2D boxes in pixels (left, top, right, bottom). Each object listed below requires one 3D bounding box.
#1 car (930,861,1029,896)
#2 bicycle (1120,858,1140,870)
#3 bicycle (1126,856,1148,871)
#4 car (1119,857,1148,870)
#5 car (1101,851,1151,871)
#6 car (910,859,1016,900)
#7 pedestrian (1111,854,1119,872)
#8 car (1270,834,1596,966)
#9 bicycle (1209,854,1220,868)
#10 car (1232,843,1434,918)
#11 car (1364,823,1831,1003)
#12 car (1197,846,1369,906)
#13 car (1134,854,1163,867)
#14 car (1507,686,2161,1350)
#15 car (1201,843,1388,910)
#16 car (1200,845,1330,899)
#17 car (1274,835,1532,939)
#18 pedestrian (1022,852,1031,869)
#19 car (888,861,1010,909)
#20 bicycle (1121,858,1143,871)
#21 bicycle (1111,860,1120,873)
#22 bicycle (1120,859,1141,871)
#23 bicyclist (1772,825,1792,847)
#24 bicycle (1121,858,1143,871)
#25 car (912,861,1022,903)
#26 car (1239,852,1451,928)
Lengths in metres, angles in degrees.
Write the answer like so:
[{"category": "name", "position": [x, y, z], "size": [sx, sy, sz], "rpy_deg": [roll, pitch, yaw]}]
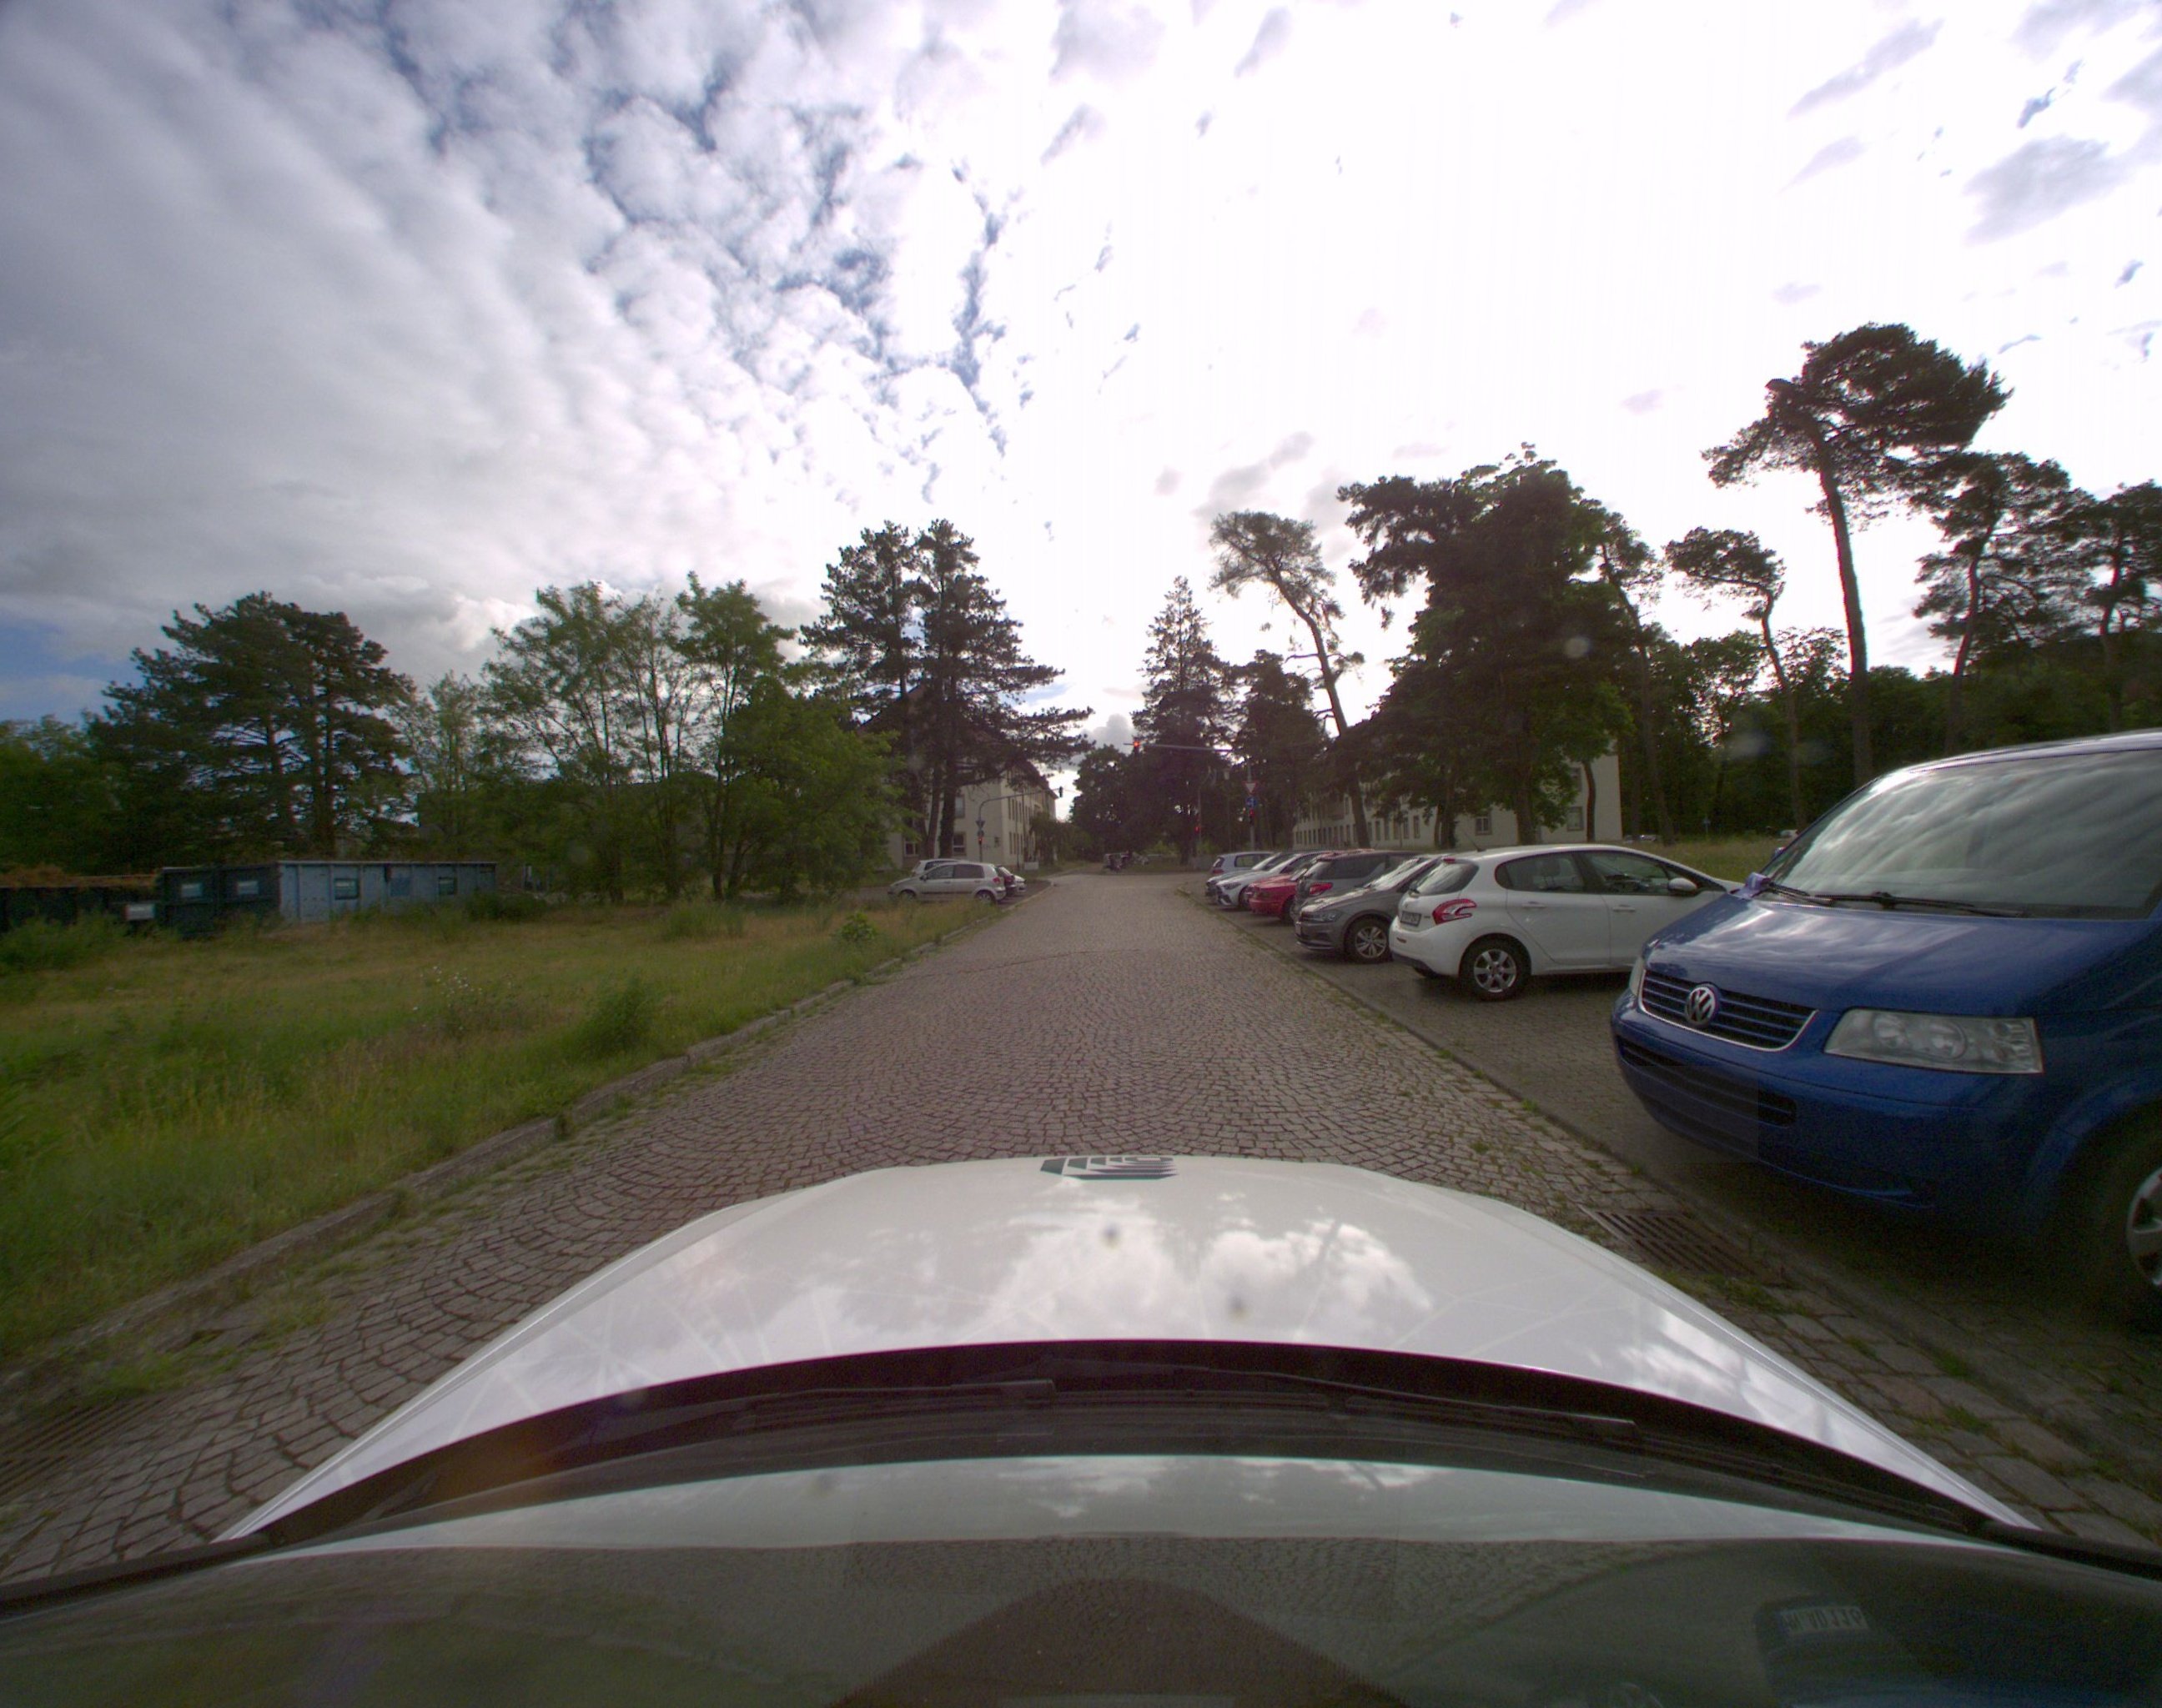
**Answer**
[{"category": "car", "position": [-4.264, 1.015, 34.481], "size": [3.933, 1.421, 1.651], "rpy_deg": [0, 0, 1]}, {"category": "bicycle", "position": [5.008, 1.032, 83.119], "size": [1.963, 1.069, 0.583], "rpy_deg": [-2, 0, -23]}, {"category": "bicycle", "position": [5.330, 0.893, 77.415], "size": [1.952, 1.384, 0.587], "rpy_deg": [-2, 0, -5]}, {"category": "car", "position": [5.815, 1.015, 90.657], "size": [2.999, 1.268, 1.533], "rpy_deg": [-3, 0, -4]}, {"category": "car", "position": [5.194, 0.784, 94.059], "size": [5.356, 1.925, 2.020], "rpy_deg": [-4, 0, -7]}, {"category": "car", "position": [-4.574, 0.972, 31.946], "size": [3.936, 1.563, 1.649], "rpy_deg": [0, 0, -1]}, {"category": "pedestrian", "position": [3.223, 0.846, 77.088], "size": [0.735, 1.618, 0.777], "rpy_deg": [-3, -1, 3]}, {"category": "car", "position": [4.876, 0.607, 11.661], "size": [3.852, 1.472, 1.757], "rpy_deg": [-4, 0, -2]}, {"category": "bicycle", "position": [10.429, 0.530, 63.664], "size": [0.584, 1.106, 1.962], "rpy_deg": [-2, 0, 2]}, {"category": "car", "position": [5.945, 0.605, 19.619], "size": [4.246, 1.416, 1.872], "rpy_deg": [-4, 0, 2]}, {"category": "car", "position": [5.306, 0.576, 8.776], "size": [3.849, 1.472, 1.758], "rpy_deg": [-4, 0, 1]}, {"category": "car", "position": [6.008, 0.642, 24.577], "size": [4.666, 1.416, 1.871], "rpy_deg": [-4, 0, 0]}, {"category": "car", "position": [8.087, 0.803, 97.850], "size": [3.222, 1.416, 1.725], "rpy_deg": [-3, 0, -1]}, {"category": "car", "position": [4.775, 0.359, 3.454], "size": [4.791, 1.945, 2.003], "rpy_deg": [-4, 0, 1]}, {"category": "car", "position": [5.672, 0.577, 21.898], "size": [4.418, 1.416, 1.866], "rpy_deg": [-4, 0, -7]}, {"category": "car", "position": [6.035, 0.584, 27.031], "size": [3.910, 1.477, 1.644], "rpy_deg": [-4, 0, 3]}, {"category": "car", "position": [5.598, 0.558, 14.513], "size": [3.849, 1.472, 1.758], "rpy_deg": [-4, 0, 1]}, {"category": "pedestrian", "position": [-6.173, 0.718, 92.078], "size": [0.778, 1.837, 0.734], "rpy_deg": [-2, -1, -29]}, {"category": "car", "position": [-4.235, 0.984, 26.552], "size": [3.692, 1.479, 1.582], "rpy_deg": [0, 0, -1]}, {"category": "bicycle", "position": [4.759, 0.991, 76.601], "size": [1.952, 1.117, 0.587], "rpy_deg": [-2, 0, -5]}, {"category": "bicycle", "position": [3.059, 1.114, 72.821], "size": [0.602, 1.132, 1.959], "rpy_deg": [-2, 0, -3]}, {"category": "bicycle", "position": [4.718, 1.025, 78.087], "size": [1.966, 1.069, 0.583], "rpy_deg": [-2, 0, -28]}, {"category": "bicyclist", "position": [45.436, -1.165, 52.803], "size": [0.743, 1.410, 0.607], "rpy_deg": [-2, 0, 15]}, {"category": "bicycle", "position": [4.794, 0.963, 75.966], "size": [1.952, 1.132, 0.587], "rpy_deg": [-2, 0, -5]}, {"category": "car", "position": [-4.024, 0.979, 29.146], "size": [3.735, 1.428, 1.582], "rpy_deg": [0, 0, -1]}, {"category": "car", "position": [5.439, 0.721, 17.144], "size": [3.849, 1.236, 1.758], "rpy_deg": [-4, 0, 1]}]
